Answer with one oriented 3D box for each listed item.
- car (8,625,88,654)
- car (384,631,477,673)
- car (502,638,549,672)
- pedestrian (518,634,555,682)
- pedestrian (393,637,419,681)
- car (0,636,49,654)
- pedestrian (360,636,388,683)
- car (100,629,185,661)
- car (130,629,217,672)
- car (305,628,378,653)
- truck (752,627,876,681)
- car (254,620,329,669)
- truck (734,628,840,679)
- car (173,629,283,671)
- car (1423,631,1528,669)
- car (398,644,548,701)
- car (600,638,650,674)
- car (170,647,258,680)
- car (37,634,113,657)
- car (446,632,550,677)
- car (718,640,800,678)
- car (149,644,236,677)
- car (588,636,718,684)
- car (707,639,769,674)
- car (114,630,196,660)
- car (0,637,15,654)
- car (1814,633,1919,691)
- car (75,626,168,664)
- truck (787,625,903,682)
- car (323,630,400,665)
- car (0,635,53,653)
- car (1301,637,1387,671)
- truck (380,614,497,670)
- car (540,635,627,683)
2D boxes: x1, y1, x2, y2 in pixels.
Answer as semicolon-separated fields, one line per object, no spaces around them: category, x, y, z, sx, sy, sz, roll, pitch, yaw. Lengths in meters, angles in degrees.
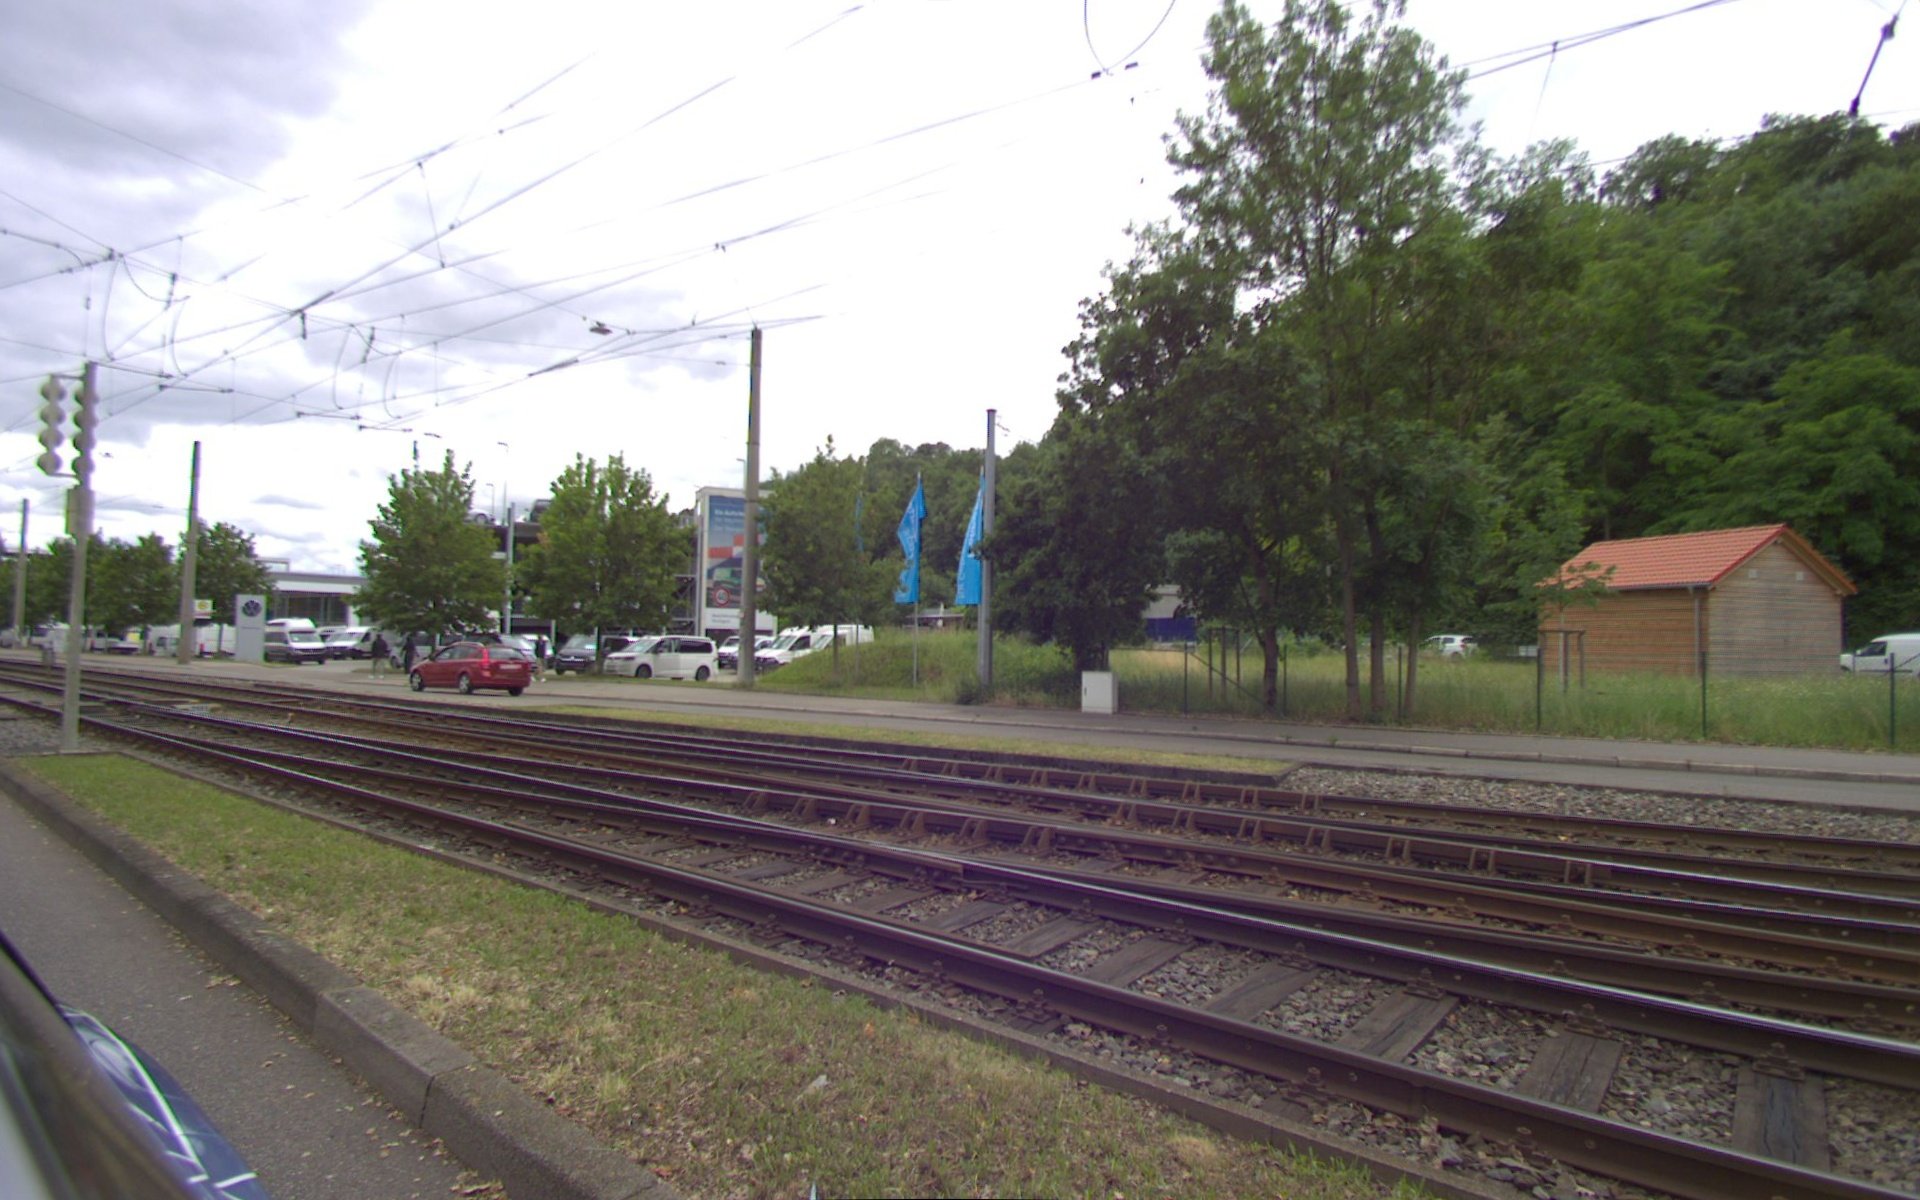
car;-75.559;3.287;83.894;2.120;2.329;4.457;-2;-4;35
car;-26.835;2.599;51.229;4.904;2.029;1.978;-1;-4;33
car;-24.776;3.119;57.624;1.965;1.845;4.481;2;-3;-29
pedestrian;-15.108;2.073;36.111;1.037;1.668;0.713;-1;-1;27
pedestrian;-22.264;2.353;40.644;0.854;1.726;0.622;-2;-2;37
car;-85.343;4.073;91.562;1.996;1.630;3.951;-2;-4;36
pedestrian;-22.979;2.318;39.655;0.854;1.827;0.670;-2;-2;37
car;-59.219;3.279;73.385;1.996;2.189;4.334;-1;-3;30
car;-54.903;3.533;70.730;1.996;2.841;4.334;-1;-3;30
car;-51.831;3.429;84.895;1.996;2.029;4.799;-1;-4;36
truck;-7.345;2.759;51.105;5.679;2.608;2.476;3;-4;-30
car;-43.095;2.847;65.185;5.926;3.042;2.088;-2;-4;37
truck;-9.190;2.851;53.965;4.985;2.608;2.476;3;-4;-30
car;-48.250;3.299;66.837;2.241;2.622;5.426;-1;-4;34
car;23.554;2.291;46.413;1.965;1.674;4.012;1;-3;-19
car;-14.542;2.141;30.147;4.489;1.527;1.977;-1;-5;34
car;-19.951;3.315;60.168;1.965;2.028;4.481;2;-4;-29
car;-50.395;4.266;68.469;1.996;2.121;4.334;-1;-3;30
car;-73.032;3.774;83.600;2.000;1.859;4.327;-1;-4;35
car;-21.758;2.535;47.599;5.115;2.029;1.977;-1;-4;33
car;-11.147;3.267;56.226;3.935;2.029;2.004;2;-3;-38
car;-52.692;4.146;69.563;1.996;2.121;4.334;-1;-3;30
car;-12.911;2.513;42.878;2.161;1.902;5.013;-1;-3;34
car;-13.633;3.458;62.358;1.982;2.029;4.257;-1;-3;15
car;-60.535;3.411;76.185;1.996;2.189;4.334;-1;-3;30
car;-91.048;4.216;94.375;1.996;1.630;3.951;-2;-4;36
car;34.150;2.213;36.698;1.965;2.029;4.417;2;-3;-24
car;-63.412;3.426;76.650;2.107;2.719;4.930;-1;-3;30
truck;-5.521;2.592;48.652;4.984;2.608;2.476;2;-3;-24
car;-46.259;3.675;78.445;1.979;2.622;5.943;0;-3;5
car;-83.684;3.911;89.791;1.998;1.630;4.331;-1;-3;32
car;19.615;2.764;51.875;1.965;1.674;4.012;1;-3;-19
truck;-30.220;2.476;58.846;5.835;3.108;2.126;2;-3;-26
car;-16.724;2.626;45.233;2.135;2.029;5.074;1;-3;-2
